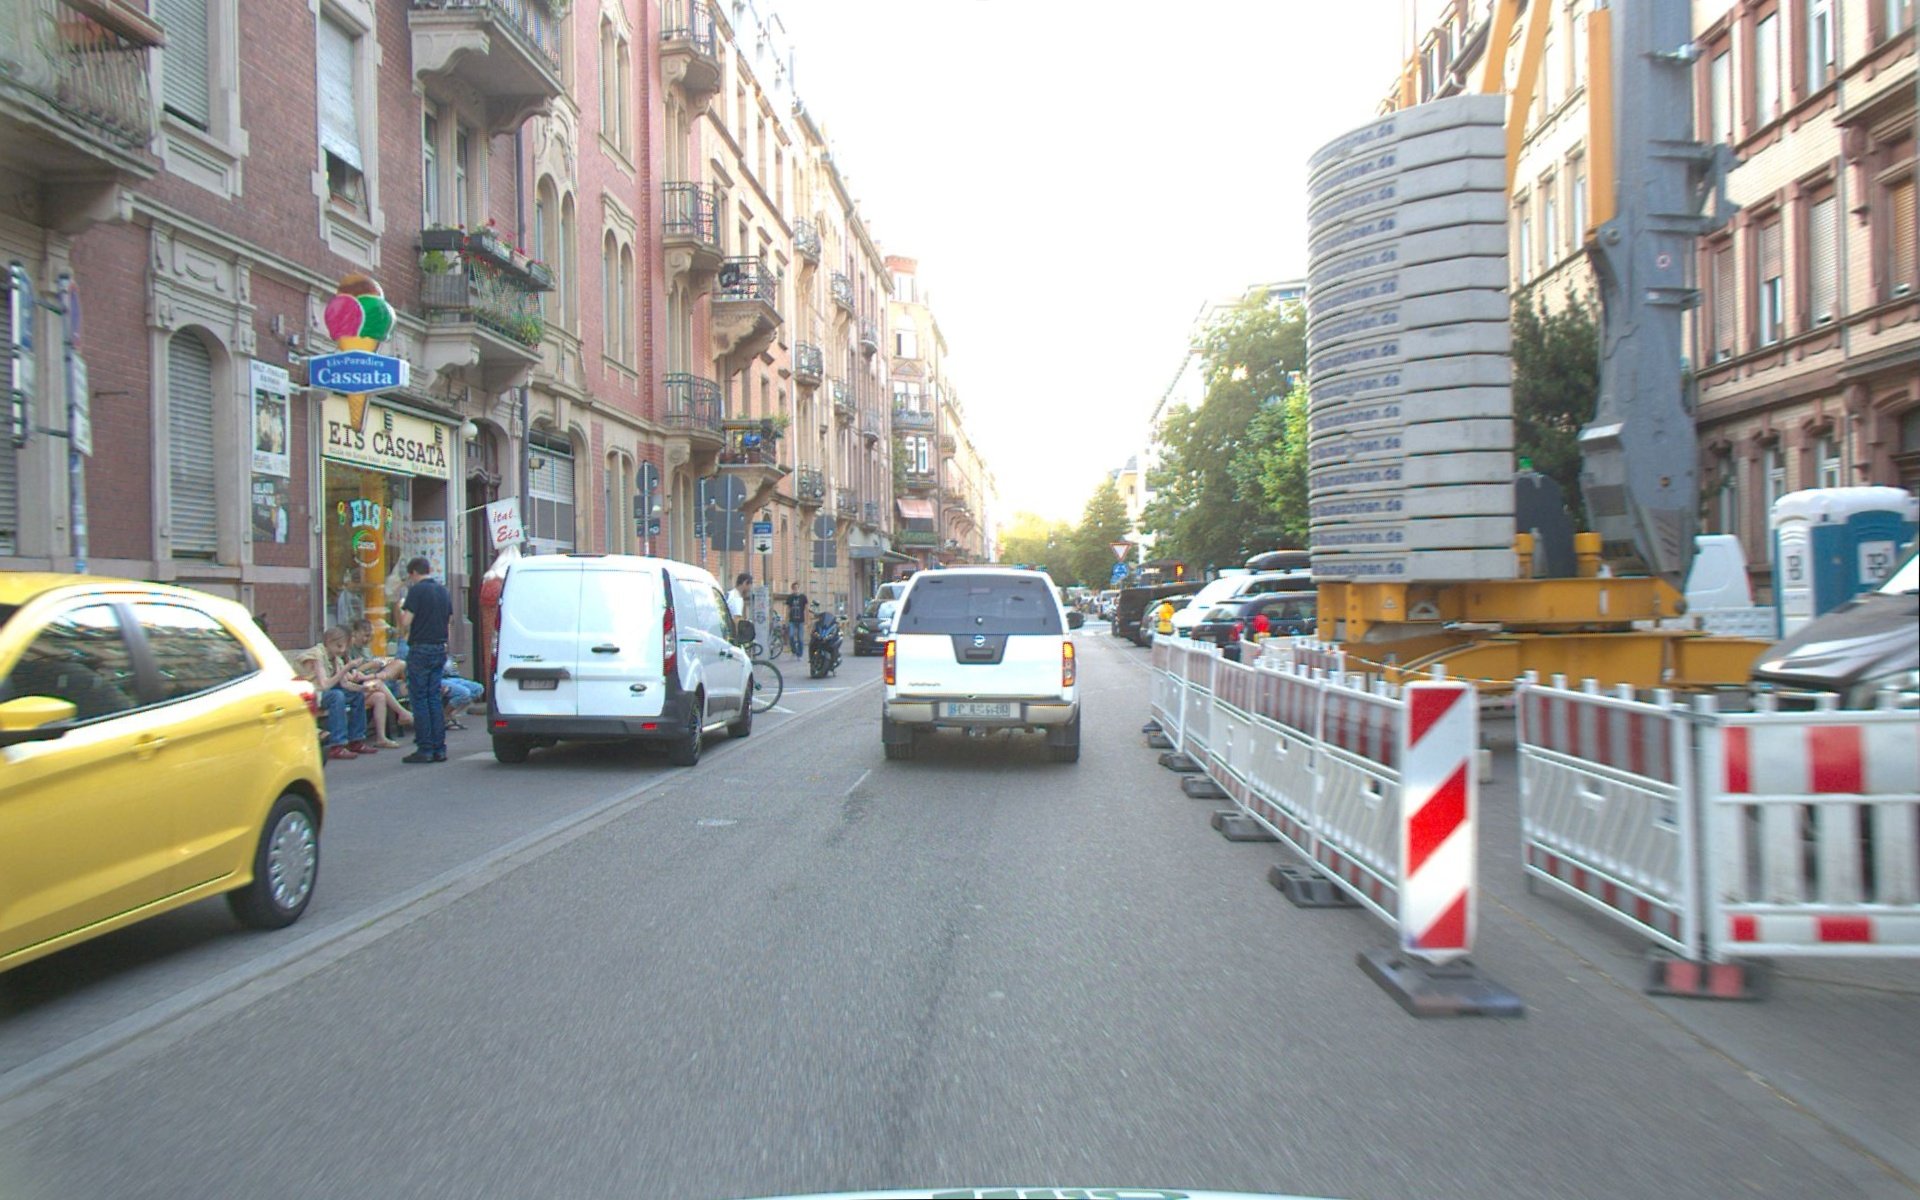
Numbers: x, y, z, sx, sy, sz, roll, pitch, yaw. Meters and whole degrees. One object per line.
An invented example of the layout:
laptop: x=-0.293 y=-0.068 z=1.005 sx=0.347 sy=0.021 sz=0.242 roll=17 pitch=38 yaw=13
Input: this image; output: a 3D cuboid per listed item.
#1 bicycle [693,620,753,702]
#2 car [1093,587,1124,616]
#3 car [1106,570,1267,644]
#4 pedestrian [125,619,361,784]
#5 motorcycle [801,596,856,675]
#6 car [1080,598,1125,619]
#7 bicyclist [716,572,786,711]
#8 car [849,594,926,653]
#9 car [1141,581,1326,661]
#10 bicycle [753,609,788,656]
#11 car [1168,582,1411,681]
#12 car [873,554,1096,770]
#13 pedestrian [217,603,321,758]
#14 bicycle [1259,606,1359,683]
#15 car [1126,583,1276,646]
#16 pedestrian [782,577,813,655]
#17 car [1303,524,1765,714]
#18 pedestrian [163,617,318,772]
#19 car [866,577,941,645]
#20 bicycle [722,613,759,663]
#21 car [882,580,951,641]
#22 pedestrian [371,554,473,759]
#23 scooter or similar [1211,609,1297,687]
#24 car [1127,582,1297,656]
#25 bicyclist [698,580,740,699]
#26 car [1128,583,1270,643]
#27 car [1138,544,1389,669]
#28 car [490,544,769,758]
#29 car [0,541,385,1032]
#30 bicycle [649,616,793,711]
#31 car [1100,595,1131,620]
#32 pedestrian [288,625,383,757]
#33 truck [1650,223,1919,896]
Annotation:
bicycle: x=-3.302 y=0.834 z=23.117 sx=0.456 sy=1.087 sz=1.521 roll=0 pitch=-1 yaw=6
car: x=10.421 y=0.134 z=116.251 sx=1.902 sy=1.967 sz=4.001 roll=1 pitch=-1 yaw=2
car: x=7.501 y=0.205 z=54.544 sx=5.376 sy=2.108 sz=1.909 roll=-4 pitch=1 yaw=-36
pedestrian: x=-5.541 y=0.769 z=12.829 sx=1.529 sy=1.224 sz=0.642 roll=1 pitch=-1 yaw=1
motorcycle: x=-2.463 y=0.658 z=31.085 sx=0.670 sy=1.429 sz=2.015 roll=1 pitch=-1 yaw=5
car: x=12.718 y=0.766 z=147.518 sx=3.904 sy=1.780 sz=1.841 roll=1 pitch=-1 yaw=2
bicyclist: x=-2.647 y=0.524 z=20.943 sx=0.775 sy=1.733 sz=0.526 roll=1 pitch=-1 yaw=-19
car: x=-1.907 y=0.614 z=44.686 sx=1.799 sy=1.496 sz=4.173 roll=0 pitch=0 yaw=1
car: x=6.630 y=0.480 z=40.030 sx=4.106 sy=1.618 sz=1.869 roll=-4 pitch=1 yaw=-28
bicycle: x=-4.619 y=0.785 z=40.403 sx=0.735 sy=1.120 sz=2.024 roll=1 pitch=-1 yaw=-3
car: x=5.764 y=0.518 z=28.961 sx=3.803 sy=1.542 sz=1.835 roll=-2 pitch=0 yaw=-23
car: x=0.266 y=0.554 z=16.733 sx=1.898 sy=1.842 sz=5.001 roll=1 pitch=-1 yaw=1
pedestrian: x=-5.832 y=0.669 z=13.985 sx=0.606 sy=1.273 sz=0.585 roll=1 pitch=-1 yaw=1
bicycle: x=5.507 y=0.686 z=26.184 sx=0.489 sy=1.156 sz=1.797 roll=-3 pitch=1 yaw=-28
car: x=7.070 y=0.420 z=48.538 sx=4.051 sy=1.578 sz=1.801 roll=-4 pitch=1 yaw=-29
pedestrian: x=-3.902 y=0.385 z=39.701 sx=0.668 sy=1.842 sz=0.961 roll=1 pitch=-1 yaw=-2
car: x=7.051 y=0.213 z=20.724 sx=5.066 sy=1.989 sz=1.900 roll=-3 pitch=1 yaw=2
pedestrian: x=-5.829 y=0.756 z=13.422 sx=1.017 sy=1.224 sz=0.503 roll=1 pitch=-1 yaw=1
car: x=-1.681 y=0.334 z=50.471 sx=1.798 sy=1.955 sz=4.848 roll=0 pitch=0 yaw=4
bicycle: x=-4.730 y=0.804 z=35.632 sx=0.438 sy=1.048 sz=1.741 roll=1 pitch=-1 yaw=4
car: x=-1.435 y=0.346 z=56.623 sx=2.065 sy=1.955 sz=5.027 roll=0 pitch=0 yaw=2
pedestrian: x=-4.753 y=0.488 z=14.624 sx=0.607 sy=1.760 sz=0.584 roll=0 pitch=-1 yaw=31
scooter or similar: x=4.626 y=0.741 z=26.133 sx=0.645 sy=1.170 sz=1.475 roll=-3 pitch=1 yaw=-21
car: x=6.553 y=0.471 z=42.959 sx=4.050 sy=1.618 sz=1.802 roll=-4 pitch=1 yaw=-28
bicyclist: x=-3.322 y=0.540 z=22.830 sx=0.456 sy=1.618 sz=0.487 roll=0 pitch=-1 yaw=6
car: x=7.409 y=0.379 z=51.204 sx=4.051 sy=1.578 sz=1.801 roll=-4 pitch=1 yaw=-29
car: x=6.326 y=0.106 z=34.499 sx=4.857 sy=2.403 sz=1.986 roll=-2 pitch=0 yaw=-23
car: x=-3.086 y=0.452 z=16.410 sx=1.734 sy=1.820 sz=4.588 roll=0 pitch=-1 yaw=1
car: x=-3.803 y=0.595 z=6.279 sx=1.669 sy=1.557 sz=3.794 roll=0 pitch=0 yaw=4
bicycle: x=-3.053 y=0.808 z=21.116 sx=1.750 sy=1.175 sz=0.518 roll=1 pitch=-1 yaw=-19
car: x=10.091 y=0.516 z=107.469 sx=1.796 sy=1.569 sz=4.001 roll=1 pitch=-1 yaw=2
pedestrian: x=-5.638 y=0.810 z=14.949 sx=0.618 sy=1.160 sz=0.573 roll=1 pitch=-1 yaw=1
truck: x=7.298 y=-0.153 z=8.660 sx=6.343 sy=3.130 sz=2.526 roll=1 pitch=-1 yaw=6
